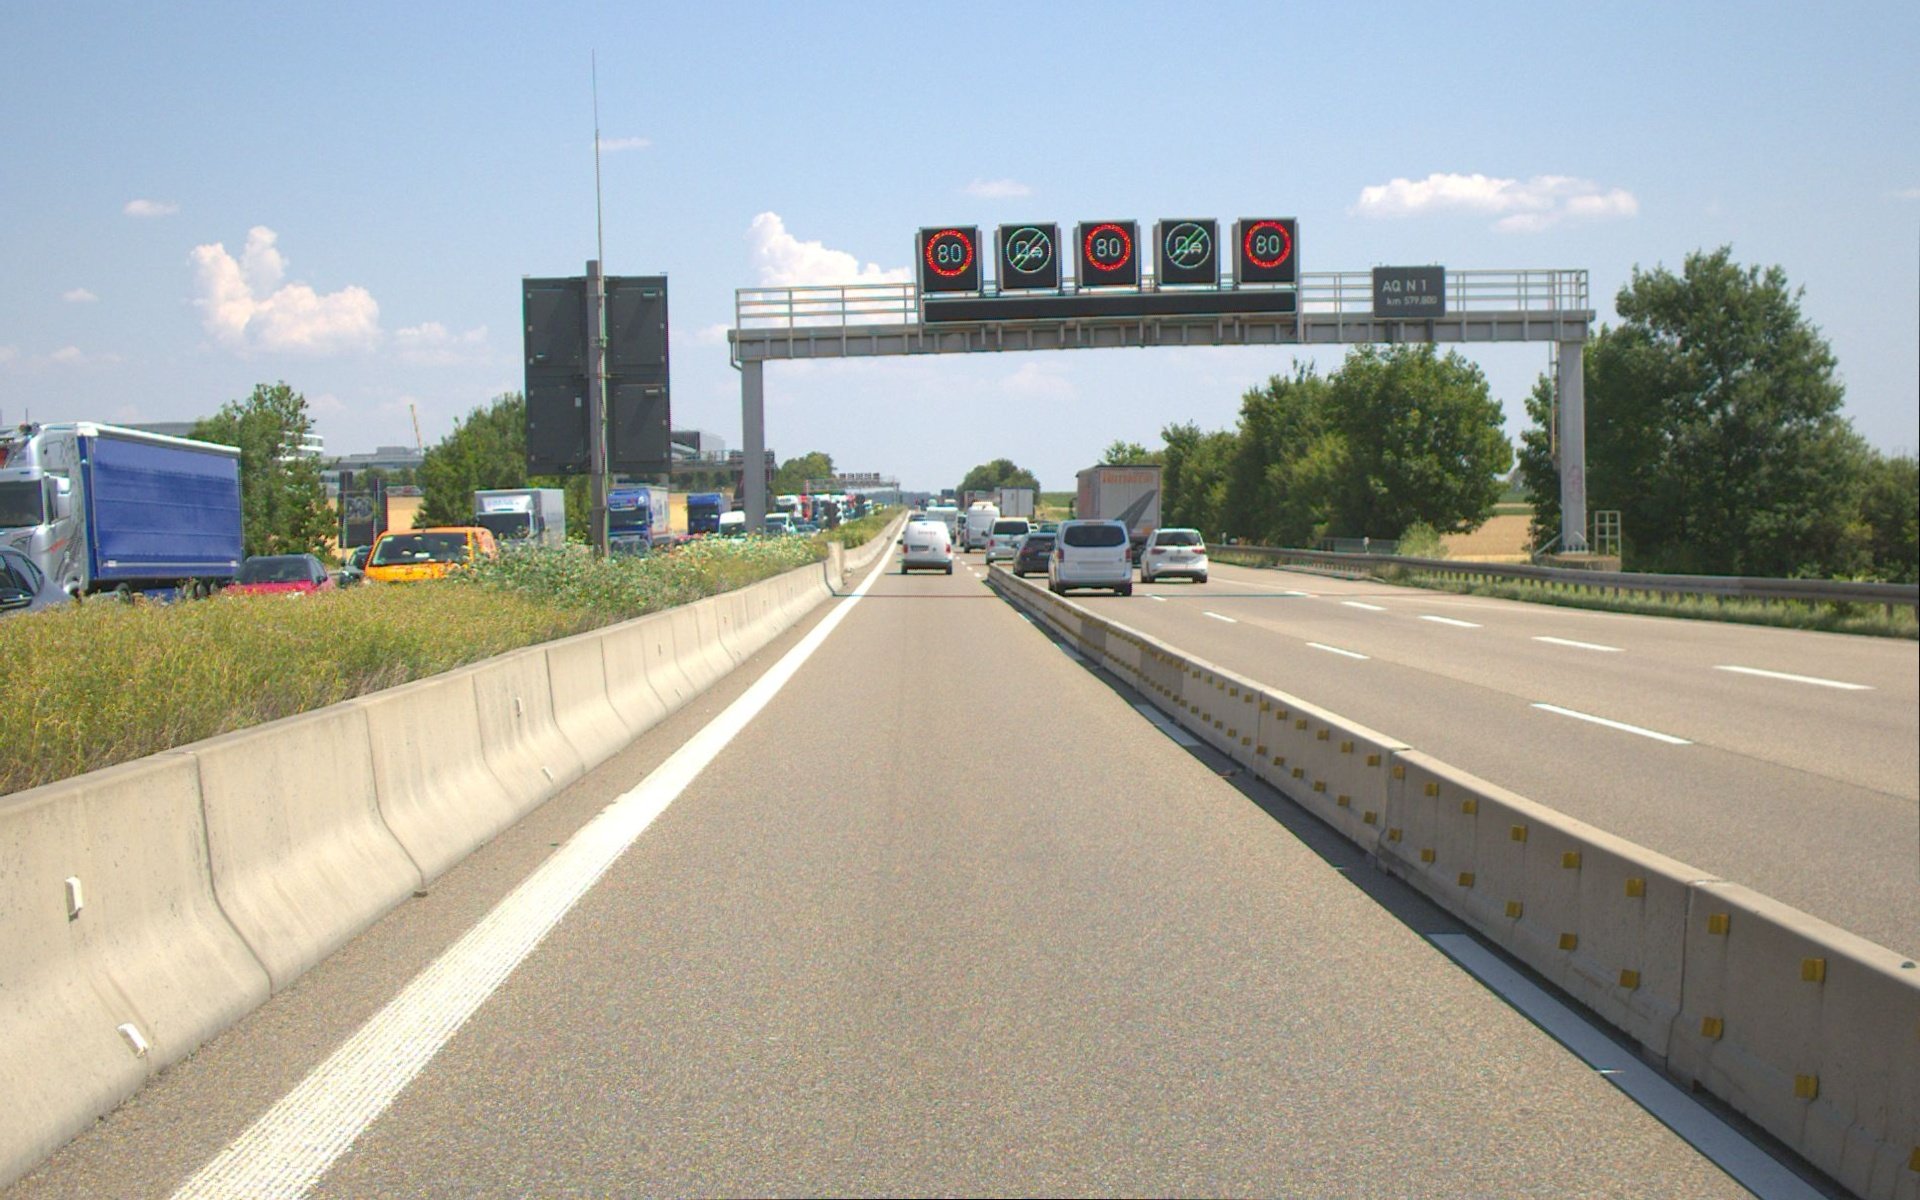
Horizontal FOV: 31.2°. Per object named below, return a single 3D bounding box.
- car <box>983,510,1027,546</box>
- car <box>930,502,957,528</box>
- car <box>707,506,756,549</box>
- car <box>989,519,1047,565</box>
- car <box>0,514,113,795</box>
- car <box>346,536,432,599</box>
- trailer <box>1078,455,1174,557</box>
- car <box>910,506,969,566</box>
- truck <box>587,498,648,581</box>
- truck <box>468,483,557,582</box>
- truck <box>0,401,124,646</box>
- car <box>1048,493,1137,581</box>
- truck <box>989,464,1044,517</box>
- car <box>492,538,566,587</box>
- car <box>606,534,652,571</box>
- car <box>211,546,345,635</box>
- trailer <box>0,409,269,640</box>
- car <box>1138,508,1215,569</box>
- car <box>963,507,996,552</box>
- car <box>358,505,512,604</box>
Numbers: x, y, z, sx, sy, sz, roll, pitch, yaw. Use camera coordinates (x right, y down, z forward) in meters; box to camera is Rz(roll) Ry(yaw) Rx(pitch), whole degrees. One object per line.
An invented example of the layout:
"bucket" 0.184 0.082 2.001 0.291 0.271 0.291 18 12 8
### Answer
"car" 1.906 -3.045 146.054 1.773 1.442 4.000 0 0 -1
"car" -1.207 -6.309 255.426 1.993 1.829 4.000 0 1 -1
"car" -10.518 -3.340 158.553 1.993 1.939 4.795 -1 1 -1
"car" 1.863 -1.856 111.565 1.773 1.442 4.000 0 0 -1
"car" -7.848 0.380 25.364 1.993 2.007 4.685 -1 1 0
"car" -16.512 -0.959 99.564 1.832 1.713 4.081 -2 1 -1
"trailer" 6.643 -3.727 138.957 3.277 3.953 9.113 0 0 -1
"car" -0.715 -2.183 118.539 1.993 2.007 4.000 0 0 -1
"truck" -18.290 -3.218 183.796 2.592 4.224 4.855 -3 1 -1
"truck" -16.952 -2.576 130.492 2.698 3.575 4.000 -2 1 0
"truck" -16.325 -1.312 59.647 2.411 4.072 4.660 -1 1 0
"car" 3.276 -1.548 85.551 1.993 2.112 4.000 0 0 -1
"truck" 4.290 -8.383 263.783 3.815 3.891 9.581 -1 1 -1
"car" -12.748 -1.122 101.954 1.832 1.319 4.281 -3 2 -3
"car" -13.059 -1.879 135.927 1.559 1.437 3.838 0 1 -2
"car" -12.412 -0.196 62.787 1.588 1.503 4.229 -1 1 0
"trailer" -16.348 -1.496 68.227 2.386 4.072 14.098 -1 1 0
"car" 6.458 -1.824 102.761 1.993 1.788 4.000 0 0 -1
"car" 1.074 -3.891 190.452 1.773 2.384 4.000 0 0 -1
"car" -8.735 -0.730 57.543 1.894 1.573 4.937 0 0 -1
